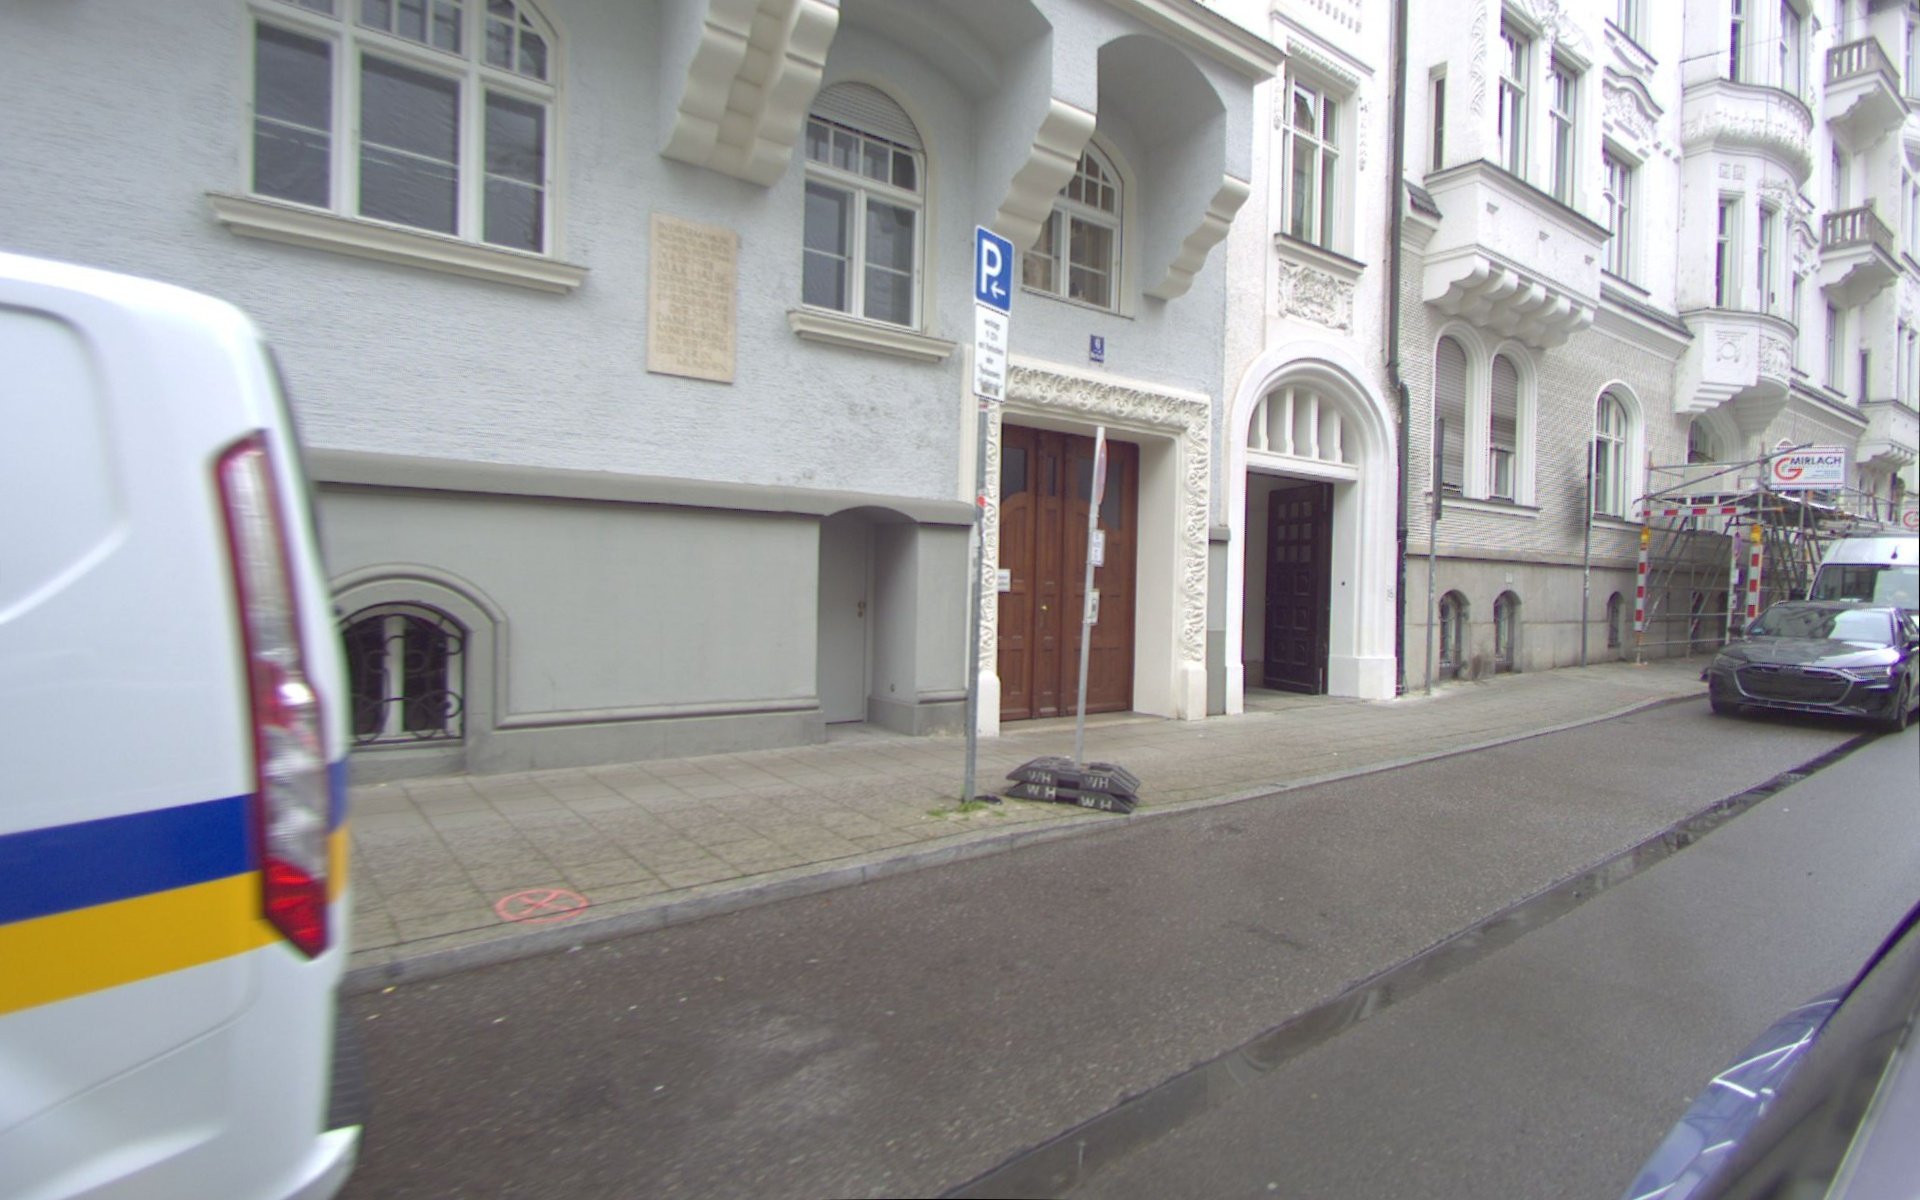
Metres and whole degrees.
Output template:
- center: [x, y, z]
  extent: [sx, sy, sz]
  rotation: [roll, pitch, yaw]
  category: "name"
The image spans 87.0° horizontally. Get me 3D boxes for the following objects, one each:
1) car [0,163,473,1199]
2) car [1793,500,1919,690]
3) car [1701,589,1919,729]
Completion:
- center: [-3.279, 0.377, 0.889]
  extent: [4.794, 1.942, 1.997]
  rotation: [0, 2, -41]
  category: "car"
- center: [15.616, -0.107, 16.408]
  extent: [5.346, 2.721, 2.083]
  rotation: [0, 3, -38]
  category: "car"
- center: [10.982, 0.604, 12.621]
  extent: [4.168, 1.425, 1.792]
  rotation: [0, 2, -39]
  category: "car"
